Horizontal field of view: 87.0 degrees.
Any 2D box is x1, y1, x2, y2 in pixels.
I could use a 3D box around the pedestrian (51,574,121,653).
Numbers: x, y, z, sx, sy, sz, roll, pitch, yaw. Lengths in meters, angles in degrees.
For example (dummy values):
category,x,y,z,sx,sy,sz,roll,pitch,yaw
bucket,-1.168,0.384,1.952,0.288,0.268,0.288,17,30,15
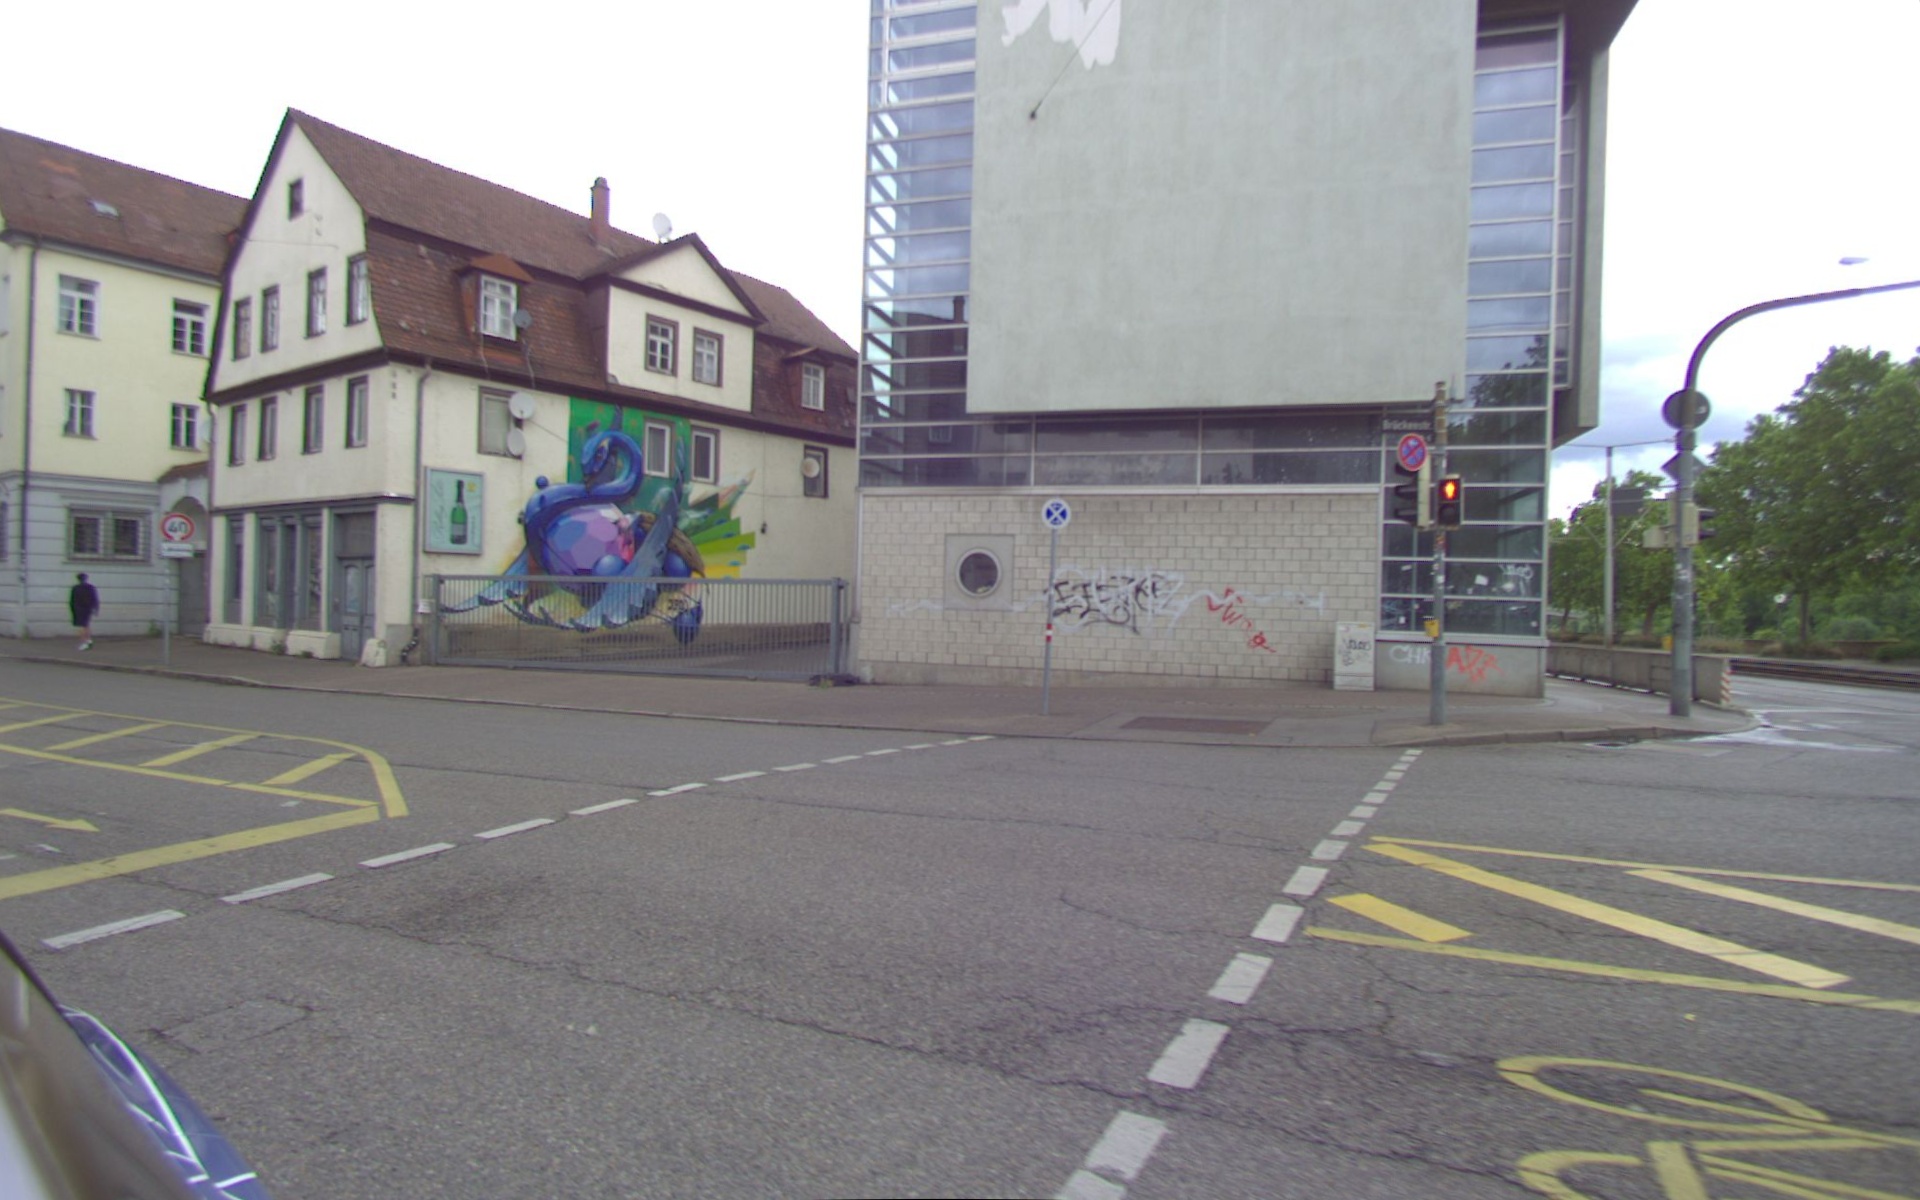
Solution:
category,x,y,z,sx,sy,sz,roll,pitch,yaw
pedestrian,-21.836,0.330,25.289,1.088,1.900,1.046,-1,0,34
